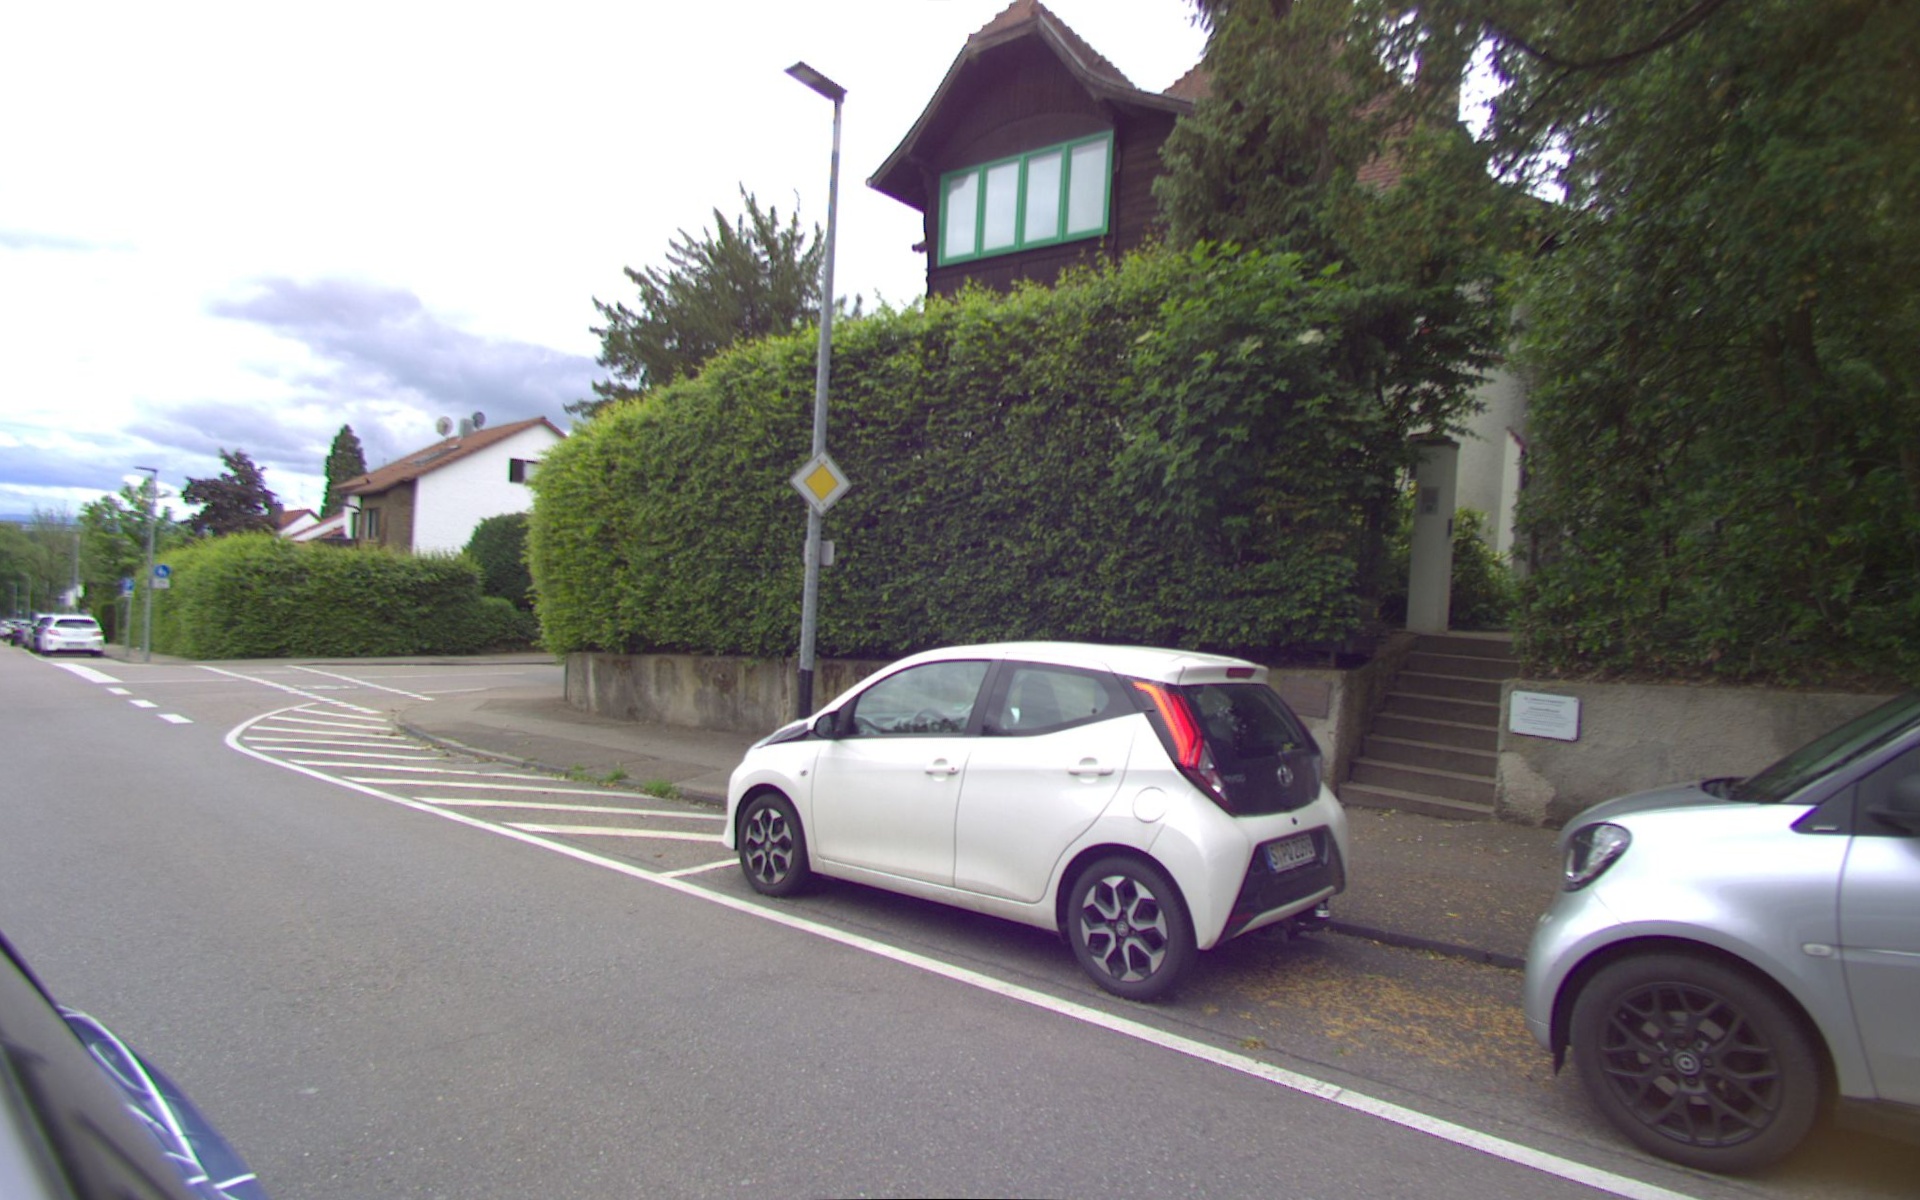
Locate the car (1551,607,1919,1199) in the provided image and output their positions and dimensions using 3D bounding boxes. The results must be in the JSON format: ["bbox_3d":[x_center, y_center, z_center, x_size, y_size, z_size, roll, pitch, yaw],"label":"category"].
[{"bbox_3d":[3.437,0.801,2.708,2.974,1.530,1.607,-1,-2,41],"label":"car"}]

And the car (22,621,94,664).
[{"bbox_3d":[-35.626,1.648,39.932,1.761,1.501,4.741,7,-6,-45],"label":"car"}]

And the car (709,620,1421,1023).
[{"bbox_3d":[0.406,0.926,5.536,3.512,1.459,1.726,-2,-6,42],"label":"car"}]

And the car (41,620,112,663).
[{"bbox_3d":[-31.910,1.495,36.528,1.670,1.430,3.582,6,-5,-44],"label":"car"}]

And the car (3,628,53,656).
[{"bbox_3d":[-53.565,2.417,58.145,1.917,1.561,4.008,3,-4,-45],"label":"car"}]

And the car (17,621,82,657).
[{"bbox_3d":[-39.962,1.704,44.375,1.864,1.501,4.344,3,-4,-45],"label":"car"}]
